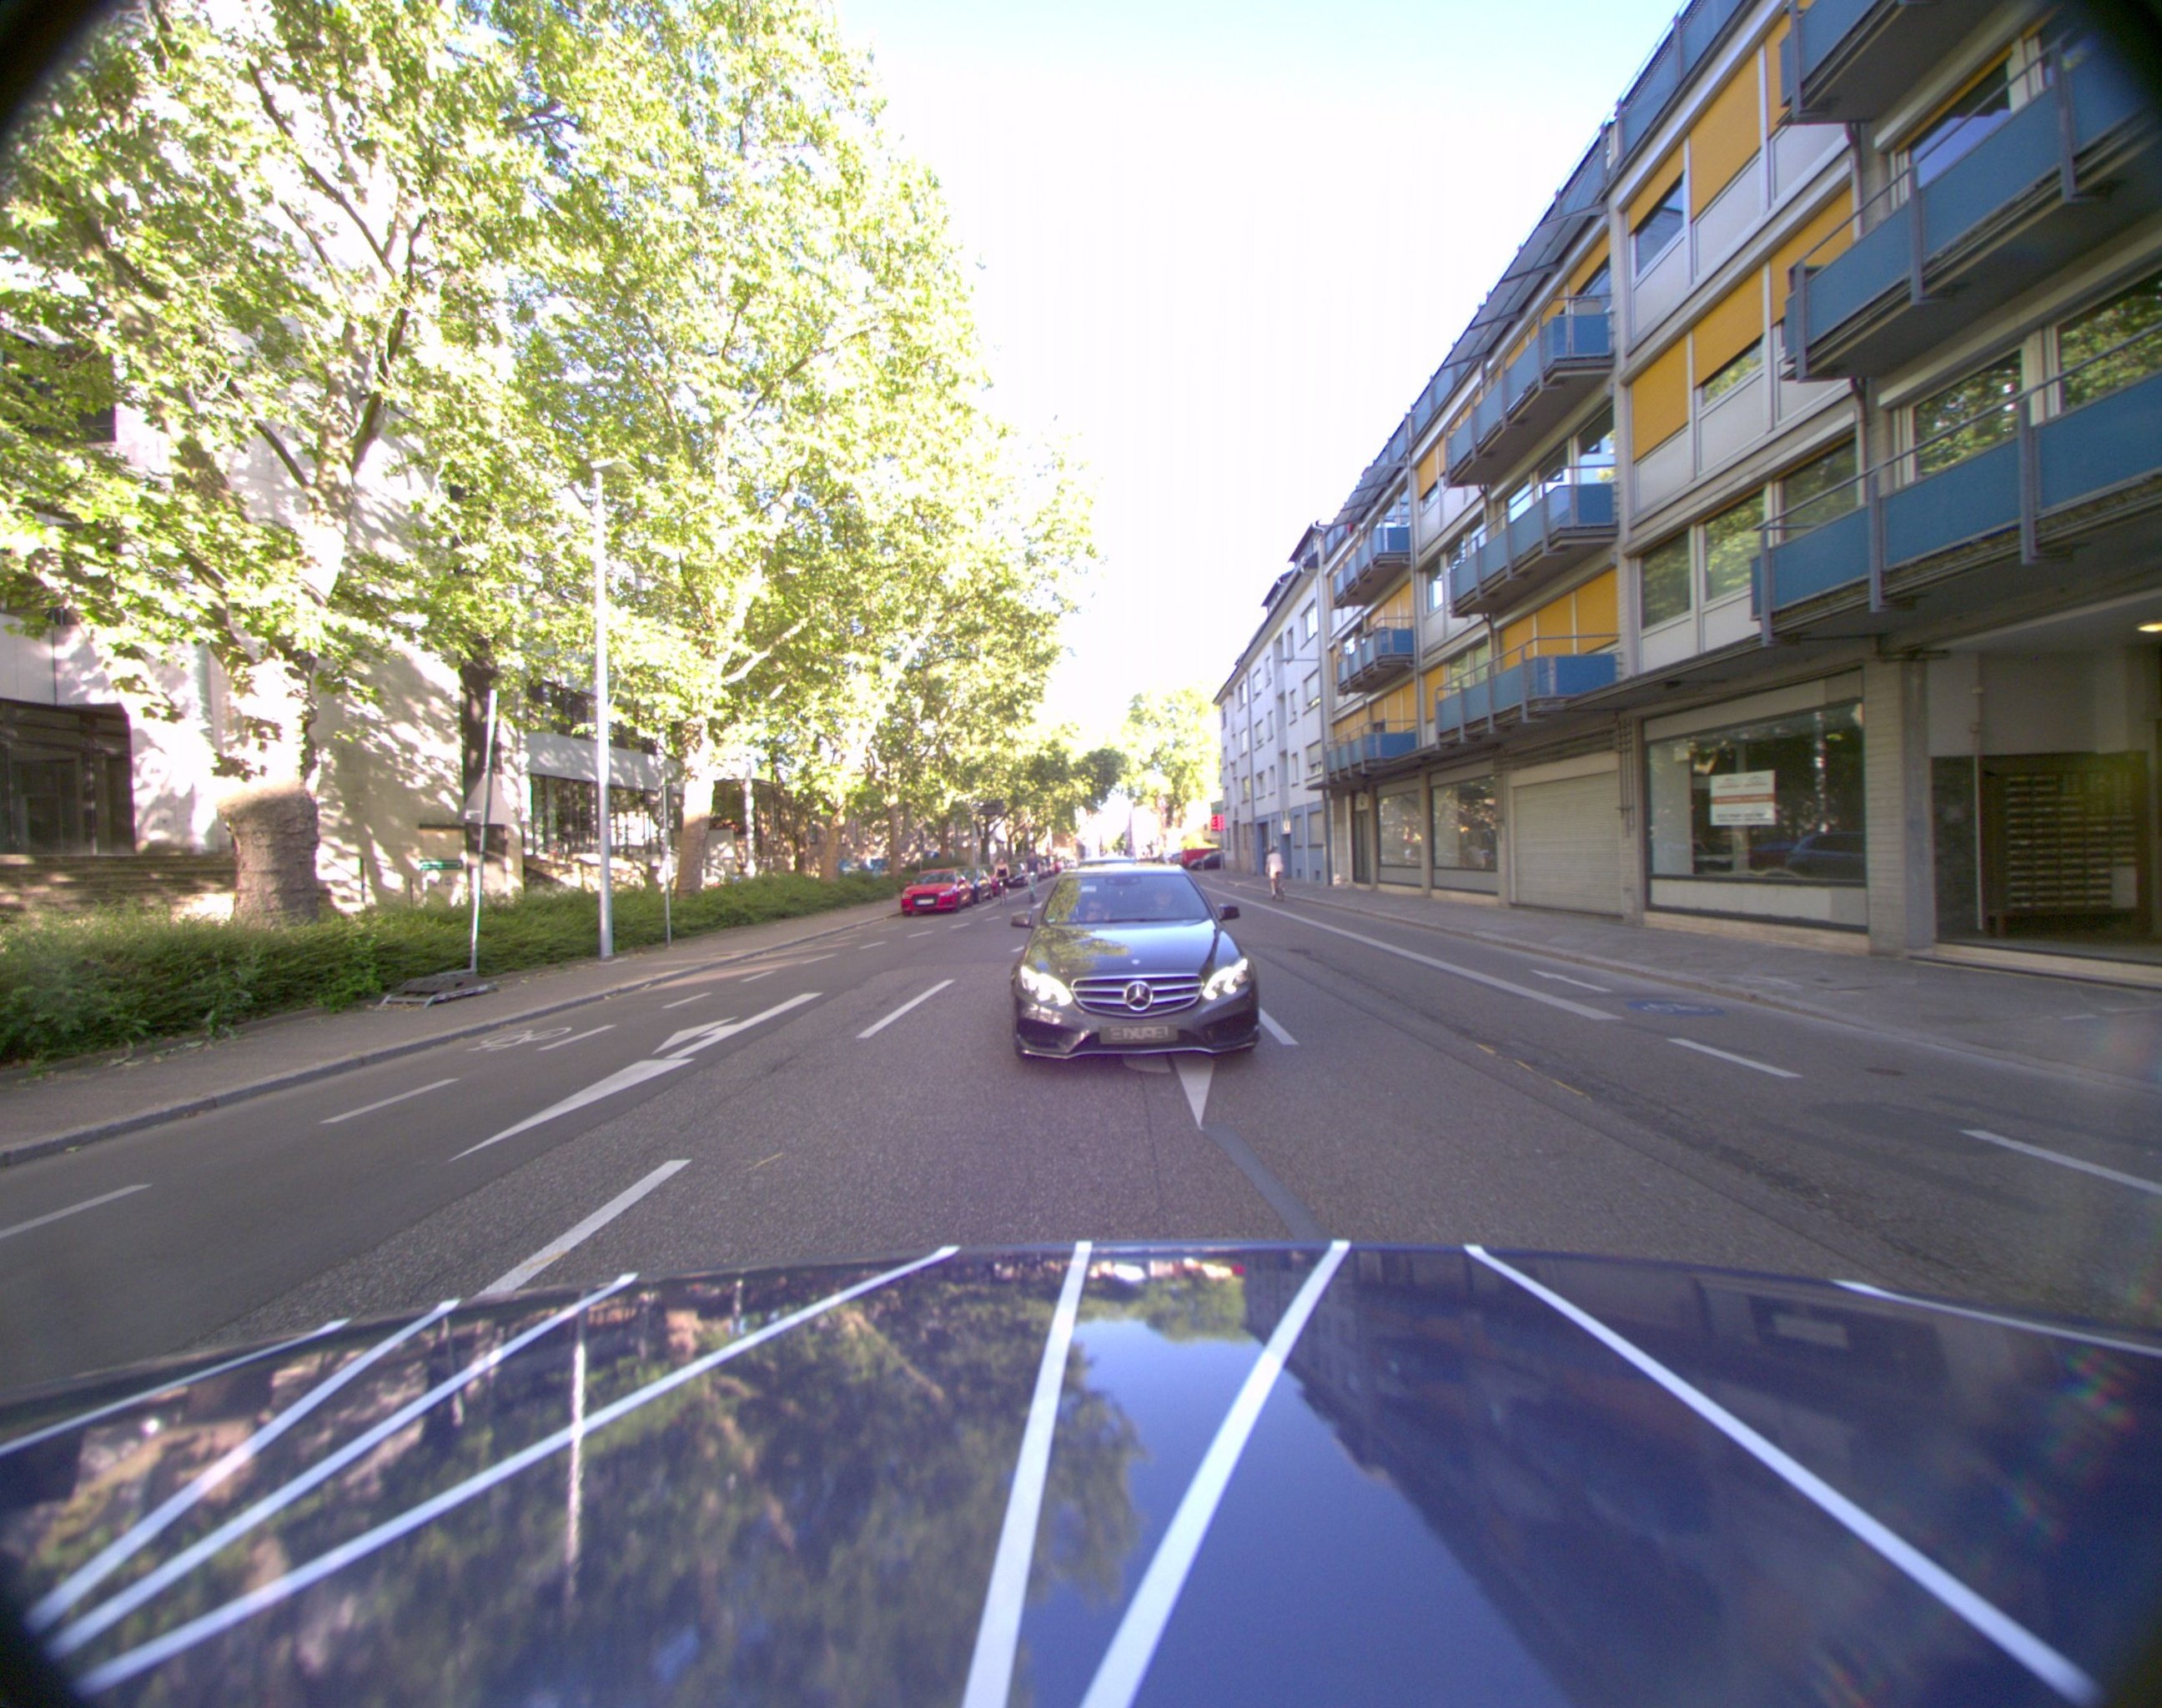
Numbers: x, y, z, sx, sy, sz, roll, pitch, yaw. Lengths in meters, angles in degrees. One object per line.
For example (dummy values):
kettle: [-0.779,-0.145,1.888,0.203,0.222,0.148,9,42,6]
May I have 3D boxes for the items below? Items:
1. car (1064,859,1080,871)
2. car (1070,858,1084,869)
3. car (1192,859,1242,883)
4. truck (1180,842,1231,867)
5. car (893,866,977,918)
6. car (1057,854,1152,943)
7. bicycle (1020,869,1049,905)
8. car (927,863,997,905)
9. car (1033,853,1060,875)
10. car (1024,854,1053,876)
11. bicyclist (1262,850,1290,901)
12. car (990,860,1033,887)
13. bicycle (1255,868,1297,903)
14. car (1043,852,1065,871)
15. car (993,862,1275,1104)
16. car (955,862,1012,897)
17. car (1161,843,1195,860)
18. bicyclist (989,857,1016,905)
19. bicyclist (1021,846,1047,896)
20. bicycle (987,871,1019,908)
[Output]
car: [-1.258,1.528,104.102,1.898,1.542,4.077,-2,0,3]
car: [-0.589,1.390,114.140,1.898,1.542,4.077,-2,0,3]
car: [11.845,1.480,66.198,3.997,1.825,1.830,-2,1,0]
truck: [11.666,0.029,71.431,4.403,2.146,1.877,-2,1,0]
car: [-4.734,1.202,25.190,1.898,1.435,4.077,-2,0,0]
car: [0.544,0.858,16.453,1.747,1.594,4.000,-2,1,3]
bicycle: [-1.655,1.164,27.714,0.770,1.129,2.815,-4,1,1]
car: [-4.594,1.129,29.908,1.898,1.439,4.077,-2,0,3]
car: [-3.016,0.853,67.015,1.898,1.840,4.077,-2,0,3]
car: [-3.472,0.899,62.268,1.898,1.642,4.077,-2,0,3]
bicyclist: [6.257,0.679,24.459,0.692,1.621,0.758,-1,1,1]
car: [-4.033,1.105,44.791,1.898,1.443,4.077,-2,0,3]
bicycle: [6.263,0.999,24.510,0.692,0.980,2.632,-1,1,1]
car: [-2.761,0.748,78.003,1.898,1.807,4.077,-2,0,3]
car: [0.333,0.870,7.322,1.799,1.460,4.719,-2,0,0]
car: [-4.470,1.136,35.409,1.898,1.443,4.077,-2,0,3]
car: [12.296,-0.329,96.691,3.997,2.002,2.000,-2,1,0]
bicyclist: [-2.837,0.985,27.705,0.770,1.670,0.896,-4,1,1]
bicyclist: [-1.698,0.600,27.700,0.770,1.723,0.901,-4,1,1]
bicycle: [-2.822,1.255,27.704,0.770,1.129,2.815,-4,1,1]
